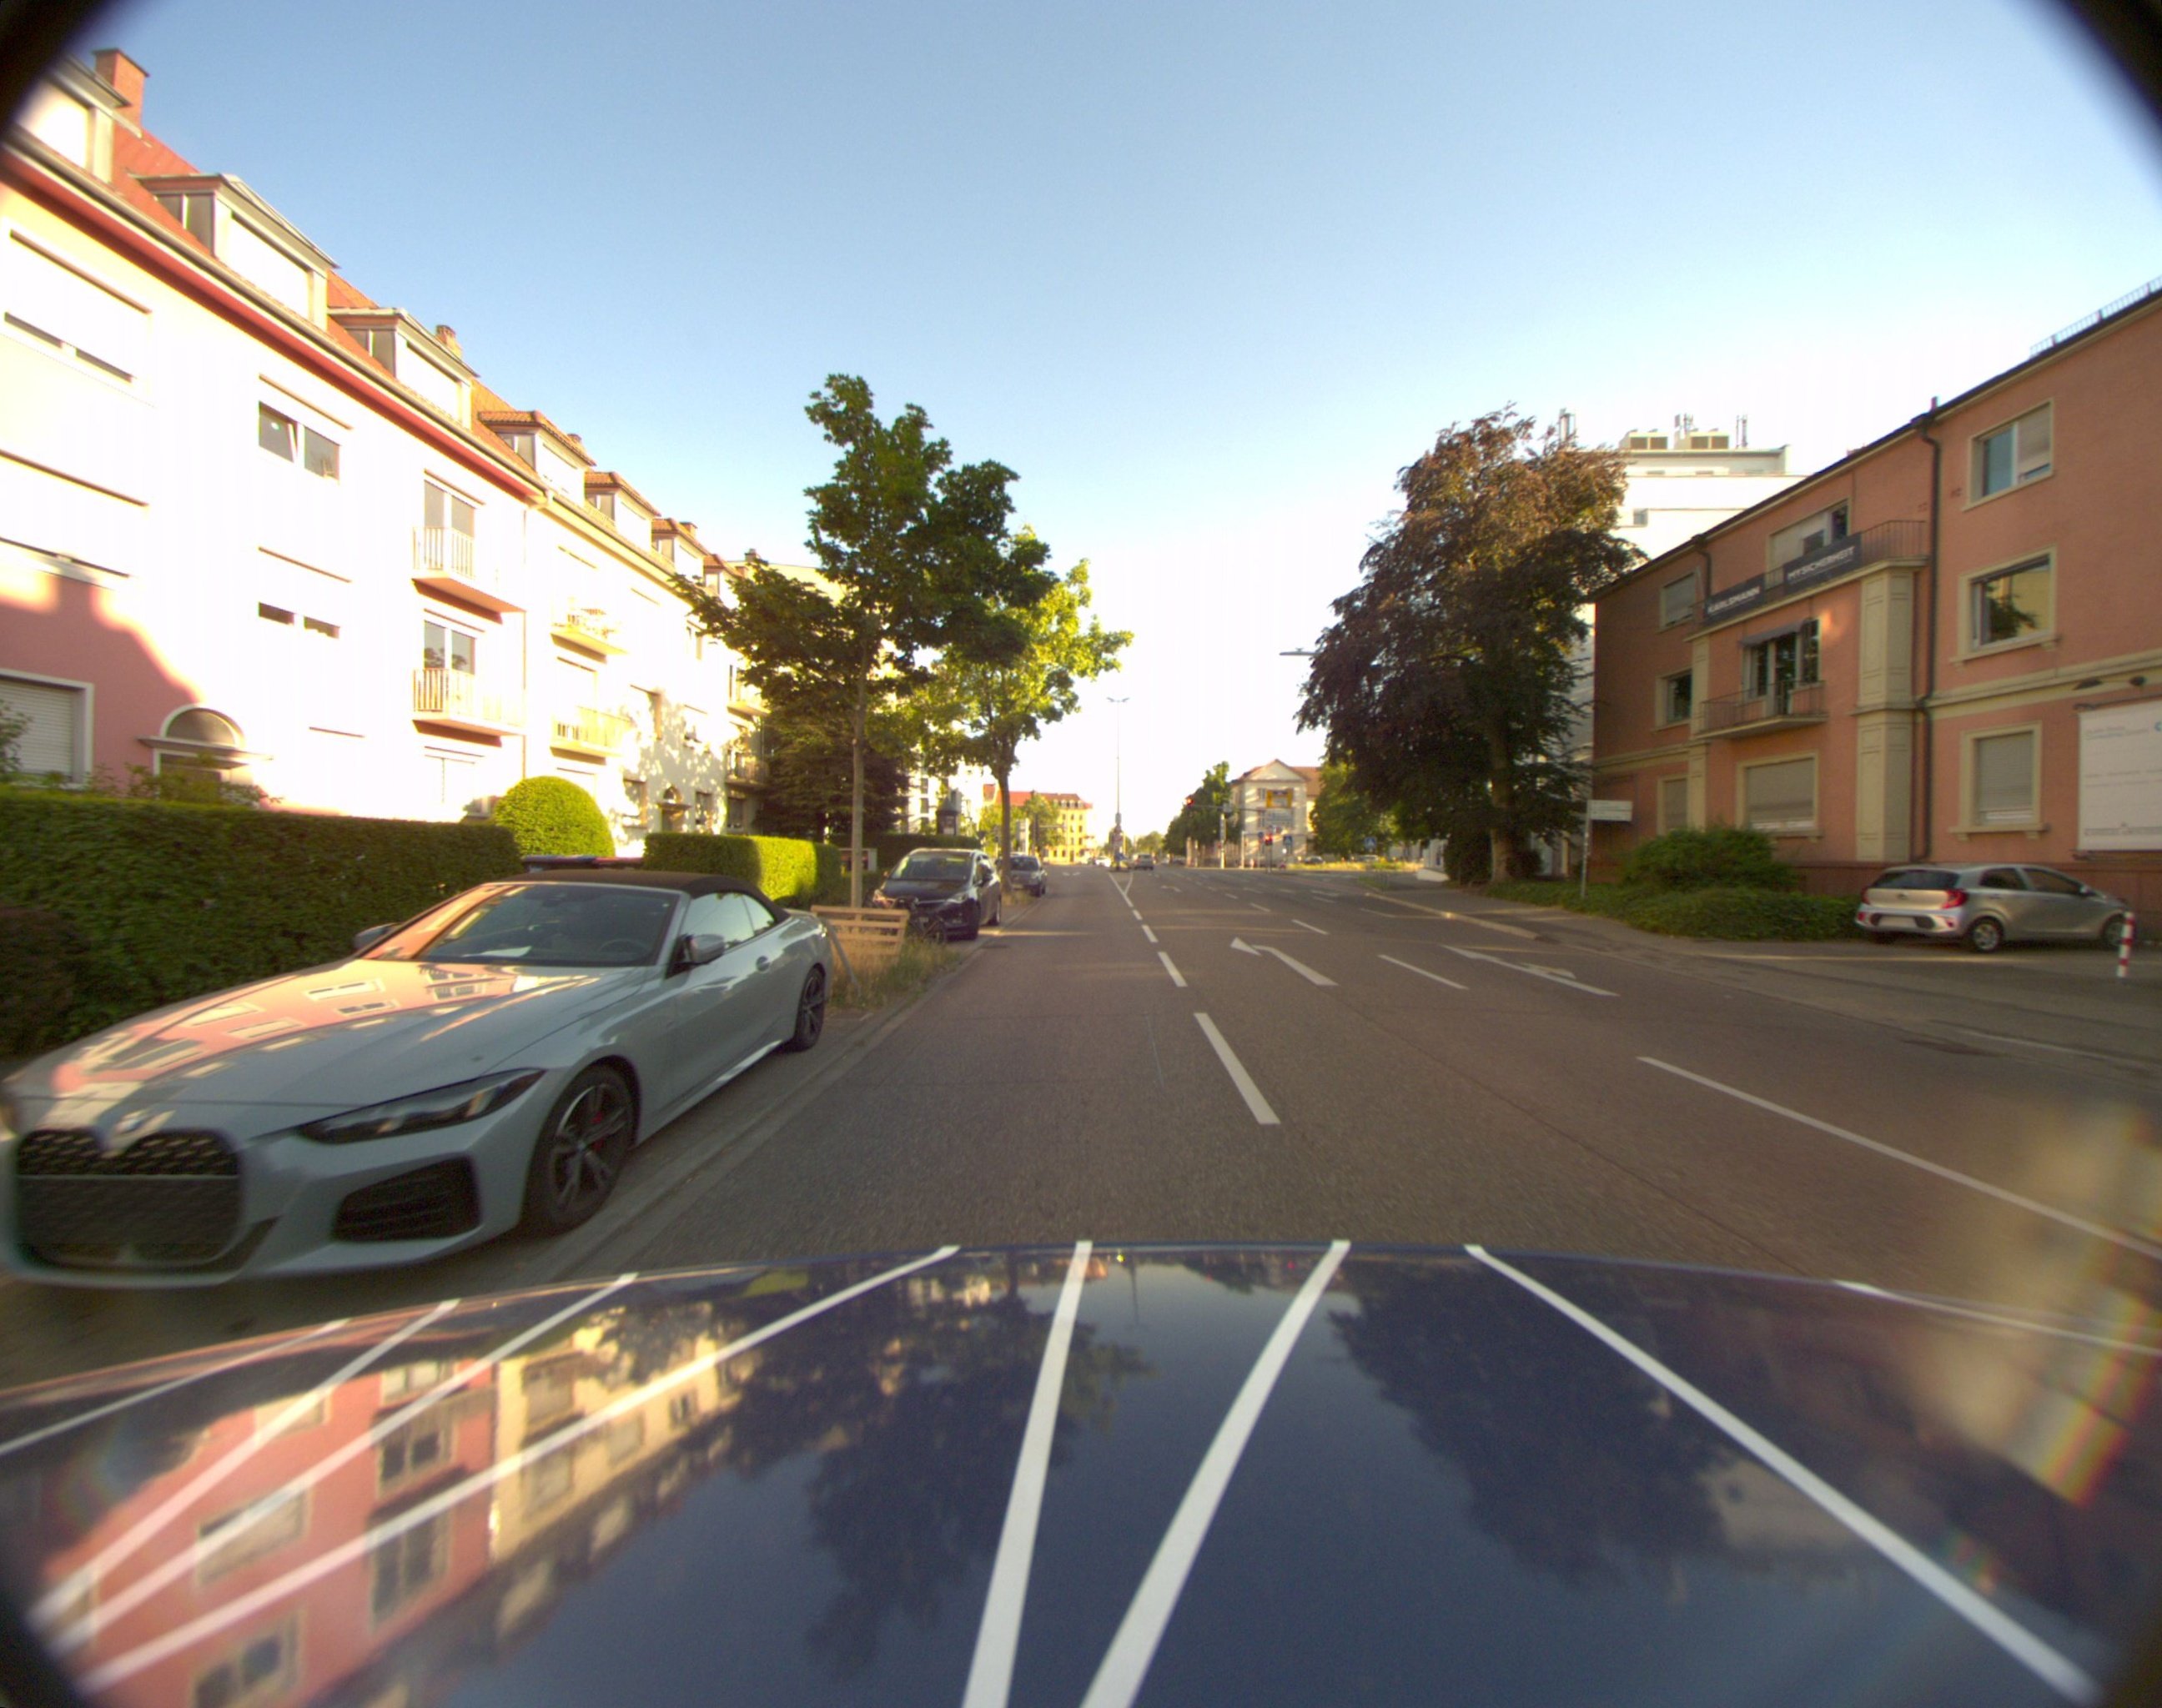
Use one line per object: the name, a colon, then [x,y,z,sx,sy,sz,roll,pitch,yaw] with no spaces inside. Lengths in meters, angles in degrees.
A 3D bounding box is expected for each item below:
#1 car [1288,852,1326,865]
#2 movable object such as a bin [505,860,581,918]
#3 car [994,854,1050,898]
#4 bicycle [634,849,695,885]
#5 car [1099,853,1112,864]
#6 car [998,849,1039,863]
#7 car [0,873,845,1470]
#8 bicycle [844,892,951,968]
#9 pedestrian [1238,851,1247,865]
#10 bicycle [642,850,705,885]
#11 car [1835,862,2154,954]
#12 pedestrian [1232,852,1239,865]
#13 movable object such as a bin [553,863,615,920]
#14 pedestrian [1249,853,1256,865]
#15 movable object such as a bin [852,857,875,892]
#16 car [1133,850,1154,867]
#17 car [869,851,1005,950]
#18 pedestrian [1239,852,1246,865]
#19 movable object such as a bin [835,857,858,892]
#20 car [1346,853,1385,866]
car: [25.706,0.508,86.434,3.645,1.437,1.999,0,0,-3]
movable object such as a bin: [-9.572,0.602,13.541,0.778,0.996,0.796,0,0,1]
car: [-2.151,0.770,28.695,1.736,1.542,3.646,0,0,1]
bicycle: [-12.259,0.389,22.375,1.525,1.050,0.426,0,0,-4]
car: [3.309,0.625,103.561,1.764,1.490,3.708,0,0,1]
car: [-6.397,0.204,77.987,3.897,1.452,1.834,0,0,5]
car: [-2.987,0.904,4.384,1.925,1.477,4.745,0,0,-2]
bicycle: [-2.640,1.086,11.032,1.482,1.053,0.411,0,0,-11]
pedestrian: [22.305,0.547,105.029,0.821,1.838,1.169,0,0,-7]
bicycle: [-12.373,0.394,23.104,1.652,1.050,0.426,0,0,-4]
car: [15.822,0.894,13.308,3.507,1.477,1.815,0,0,-2]
pedestrian: [21.356,0.622,104.841,0.678,1.698,1.084,0,0,-7]
movable object such as a bin: [-8.874,0.655,13.599,0.583,0.996,0.796,0,0,1]
pedestrian: [22.553,0.659,99.894,0.678,1.641,0.882,0,0,-7]
movable object such as a bin: [-7.641,0.709,26.712,0.554,1.232,0.828,0,0,1]
car: [5.580,0.401,68.247,1.831,1.505,4.606,0,0,4]
car: [-2.619,0.782,14.822,1.736,1.641,4.291,0,0,1]
pedestrian: [21.288,0.570,99.943,0.621,1.641,0.889,0,0,-7]
movable object such as a bin: [-8.254,0.698,26.772,0.554,1.214,0.828,0,0,1]
car: [32.629,0.642,87.223,3.645,1.437,1.999,0,0,-3]
